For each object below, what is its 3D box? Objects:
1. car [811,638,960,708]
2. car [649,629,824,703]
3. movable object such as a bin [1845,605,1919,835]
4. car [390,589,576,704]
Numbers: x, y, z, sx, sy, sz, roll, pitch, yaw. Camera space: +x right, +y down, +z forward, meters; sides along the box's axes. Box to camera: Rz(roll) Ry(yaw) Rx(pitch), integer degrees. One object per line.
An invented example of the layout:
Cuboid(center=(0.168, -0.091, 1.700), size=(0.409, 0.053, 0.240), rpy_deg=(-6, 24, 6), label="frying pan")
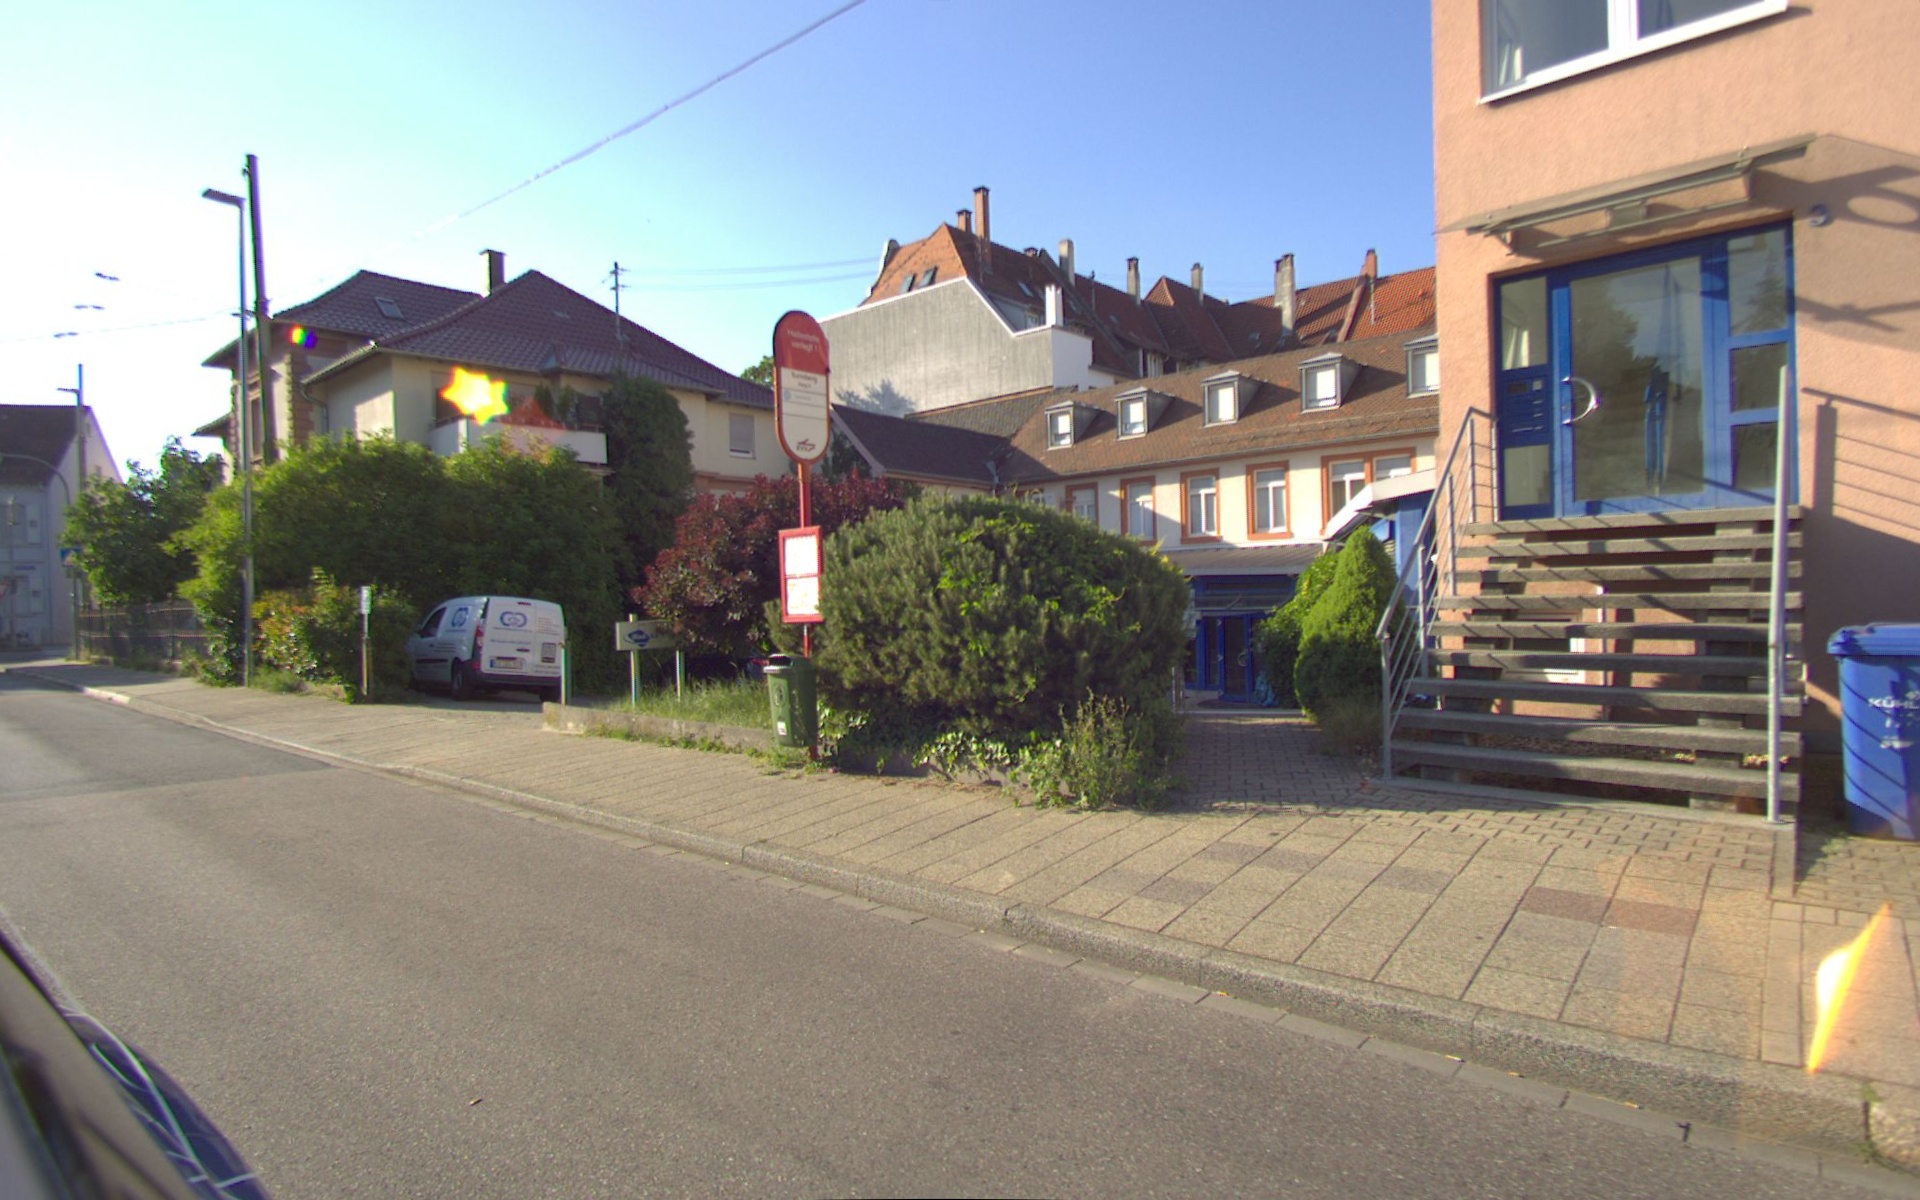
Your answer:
Cuboid(center=(-1.998, 1.876, 26.609), size=(3.794, 1.681, 1.820), rpy_deg=(-2, -5, 44), label="car")
Cuboid(center=(-5.078, 1.453, 22.876), size=(3.786, 1.529, 1.824), rpy_deg=(-1, -3, 37), label="car")
Cuboid(center=(4.834, 0.569, 5.053), size=(0.601, 1.074, 0.750), rpy_deg=(-2, 0, 41), label="movable object such as a bin")
Cuboid(center=(-8.680, 0.855, 18.294), size=(3.671, 1.829, 1.682), rpy_deg=(-2, -7, 43), label="car")
